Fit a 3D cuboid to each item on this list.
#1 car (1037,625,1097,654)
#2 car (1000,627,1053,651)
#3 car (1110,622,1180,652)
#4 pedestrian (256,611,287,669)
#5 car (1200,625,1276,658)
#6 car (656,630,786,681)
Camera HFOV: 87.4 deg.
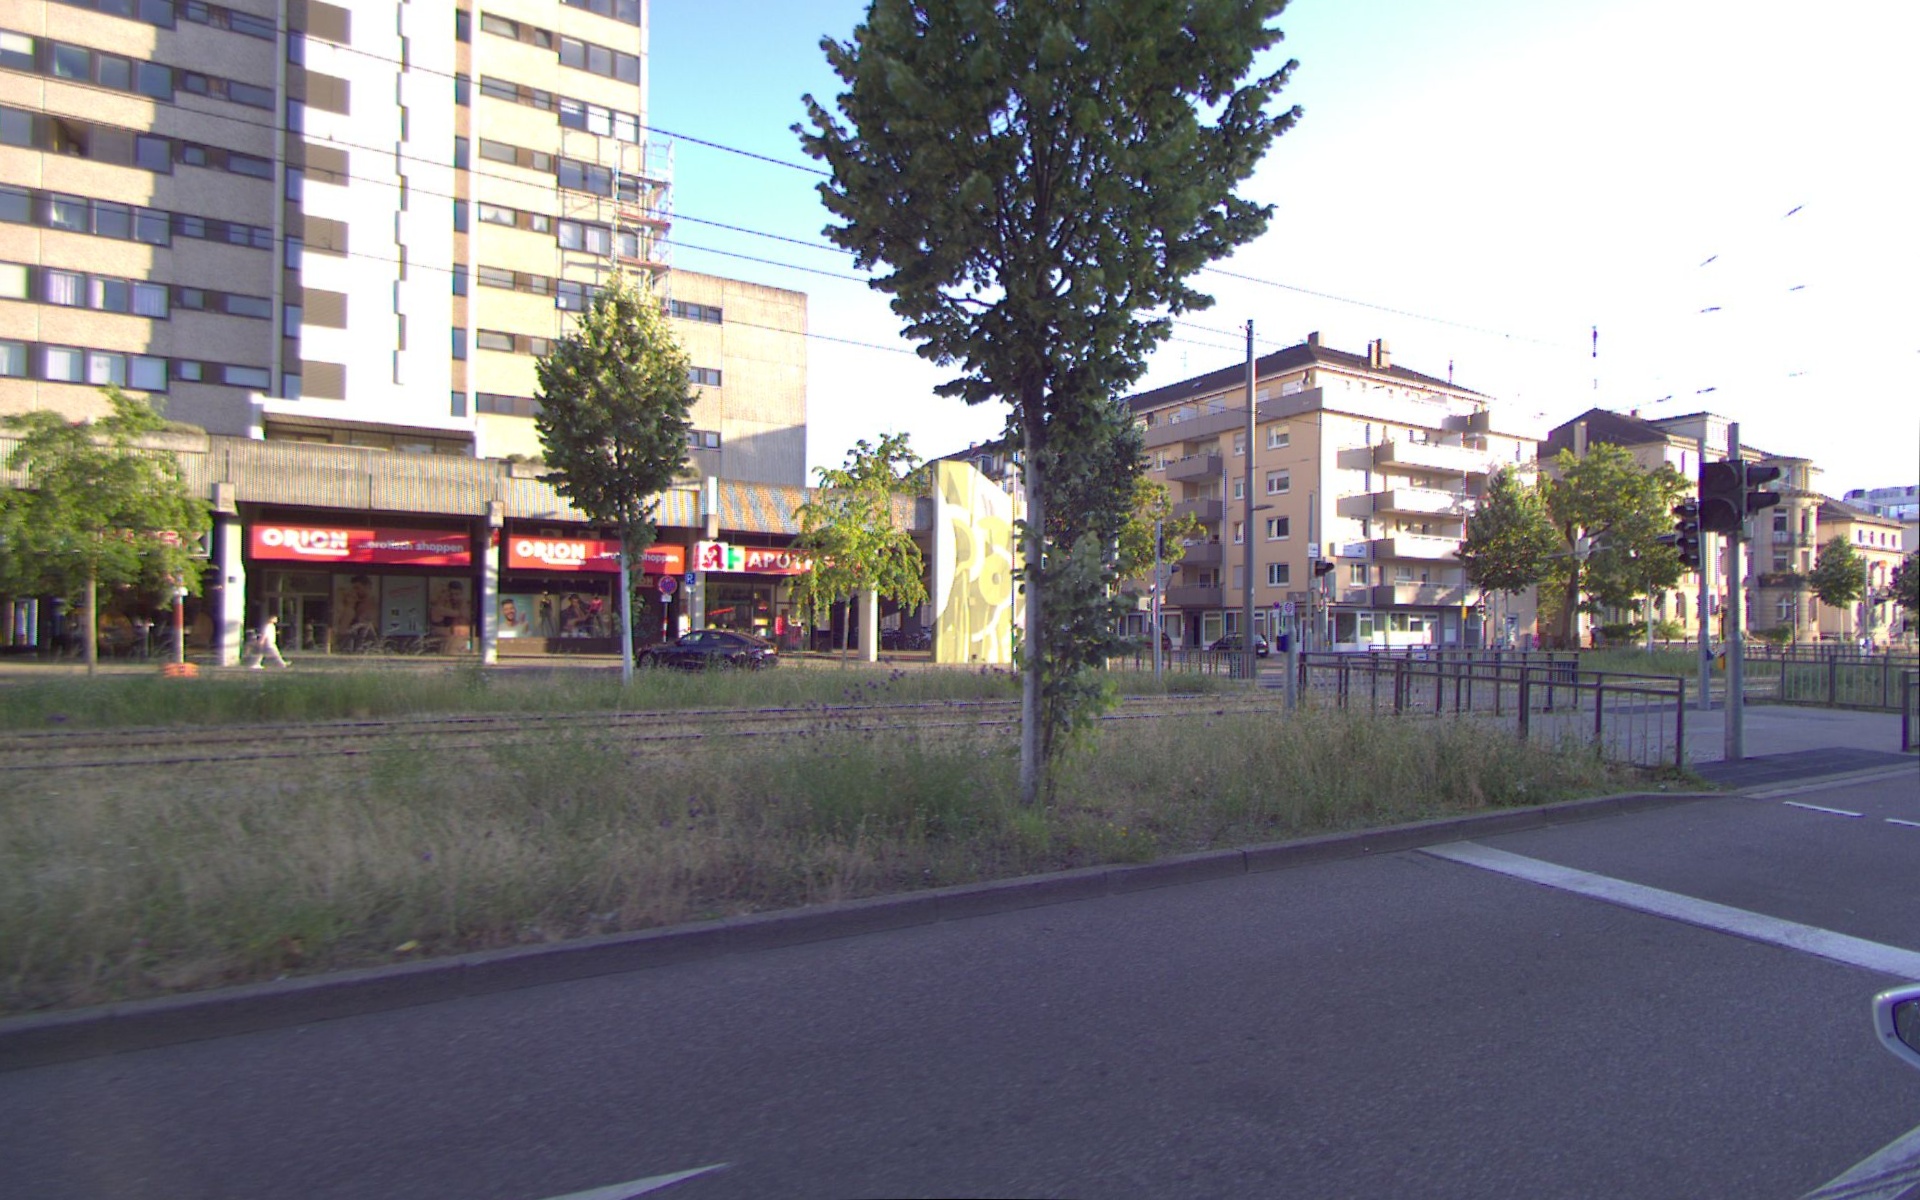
[{"bbox_3d":[7.791,2.851,73.356,2.141,2.016,4.465,1,-2,-30],"label":"car"},{"bbox_3d":[5.142,3.000,78.125,2.092,1.779,4.308,1,-2,-30],"label":"car"},{"bbox_3d":[12.094,2.435,66.008,2.143,1.792,4.306,0,-3,-32],"label":"car"},{"bbox_3d":[-20.389,1.174,29.764,0.653,1.683,0.661,1,0,-29],"label":"pedestrian"},{"bbox_3d":[16.222,2.406,58.705,2.166,1.870,3.915,1,-2,-30],"label":"car"},{"bbox_3d":[-7.487,1.712,31.456,3.659,1.469,1.743,0,-2,24],"label":"car"}]
